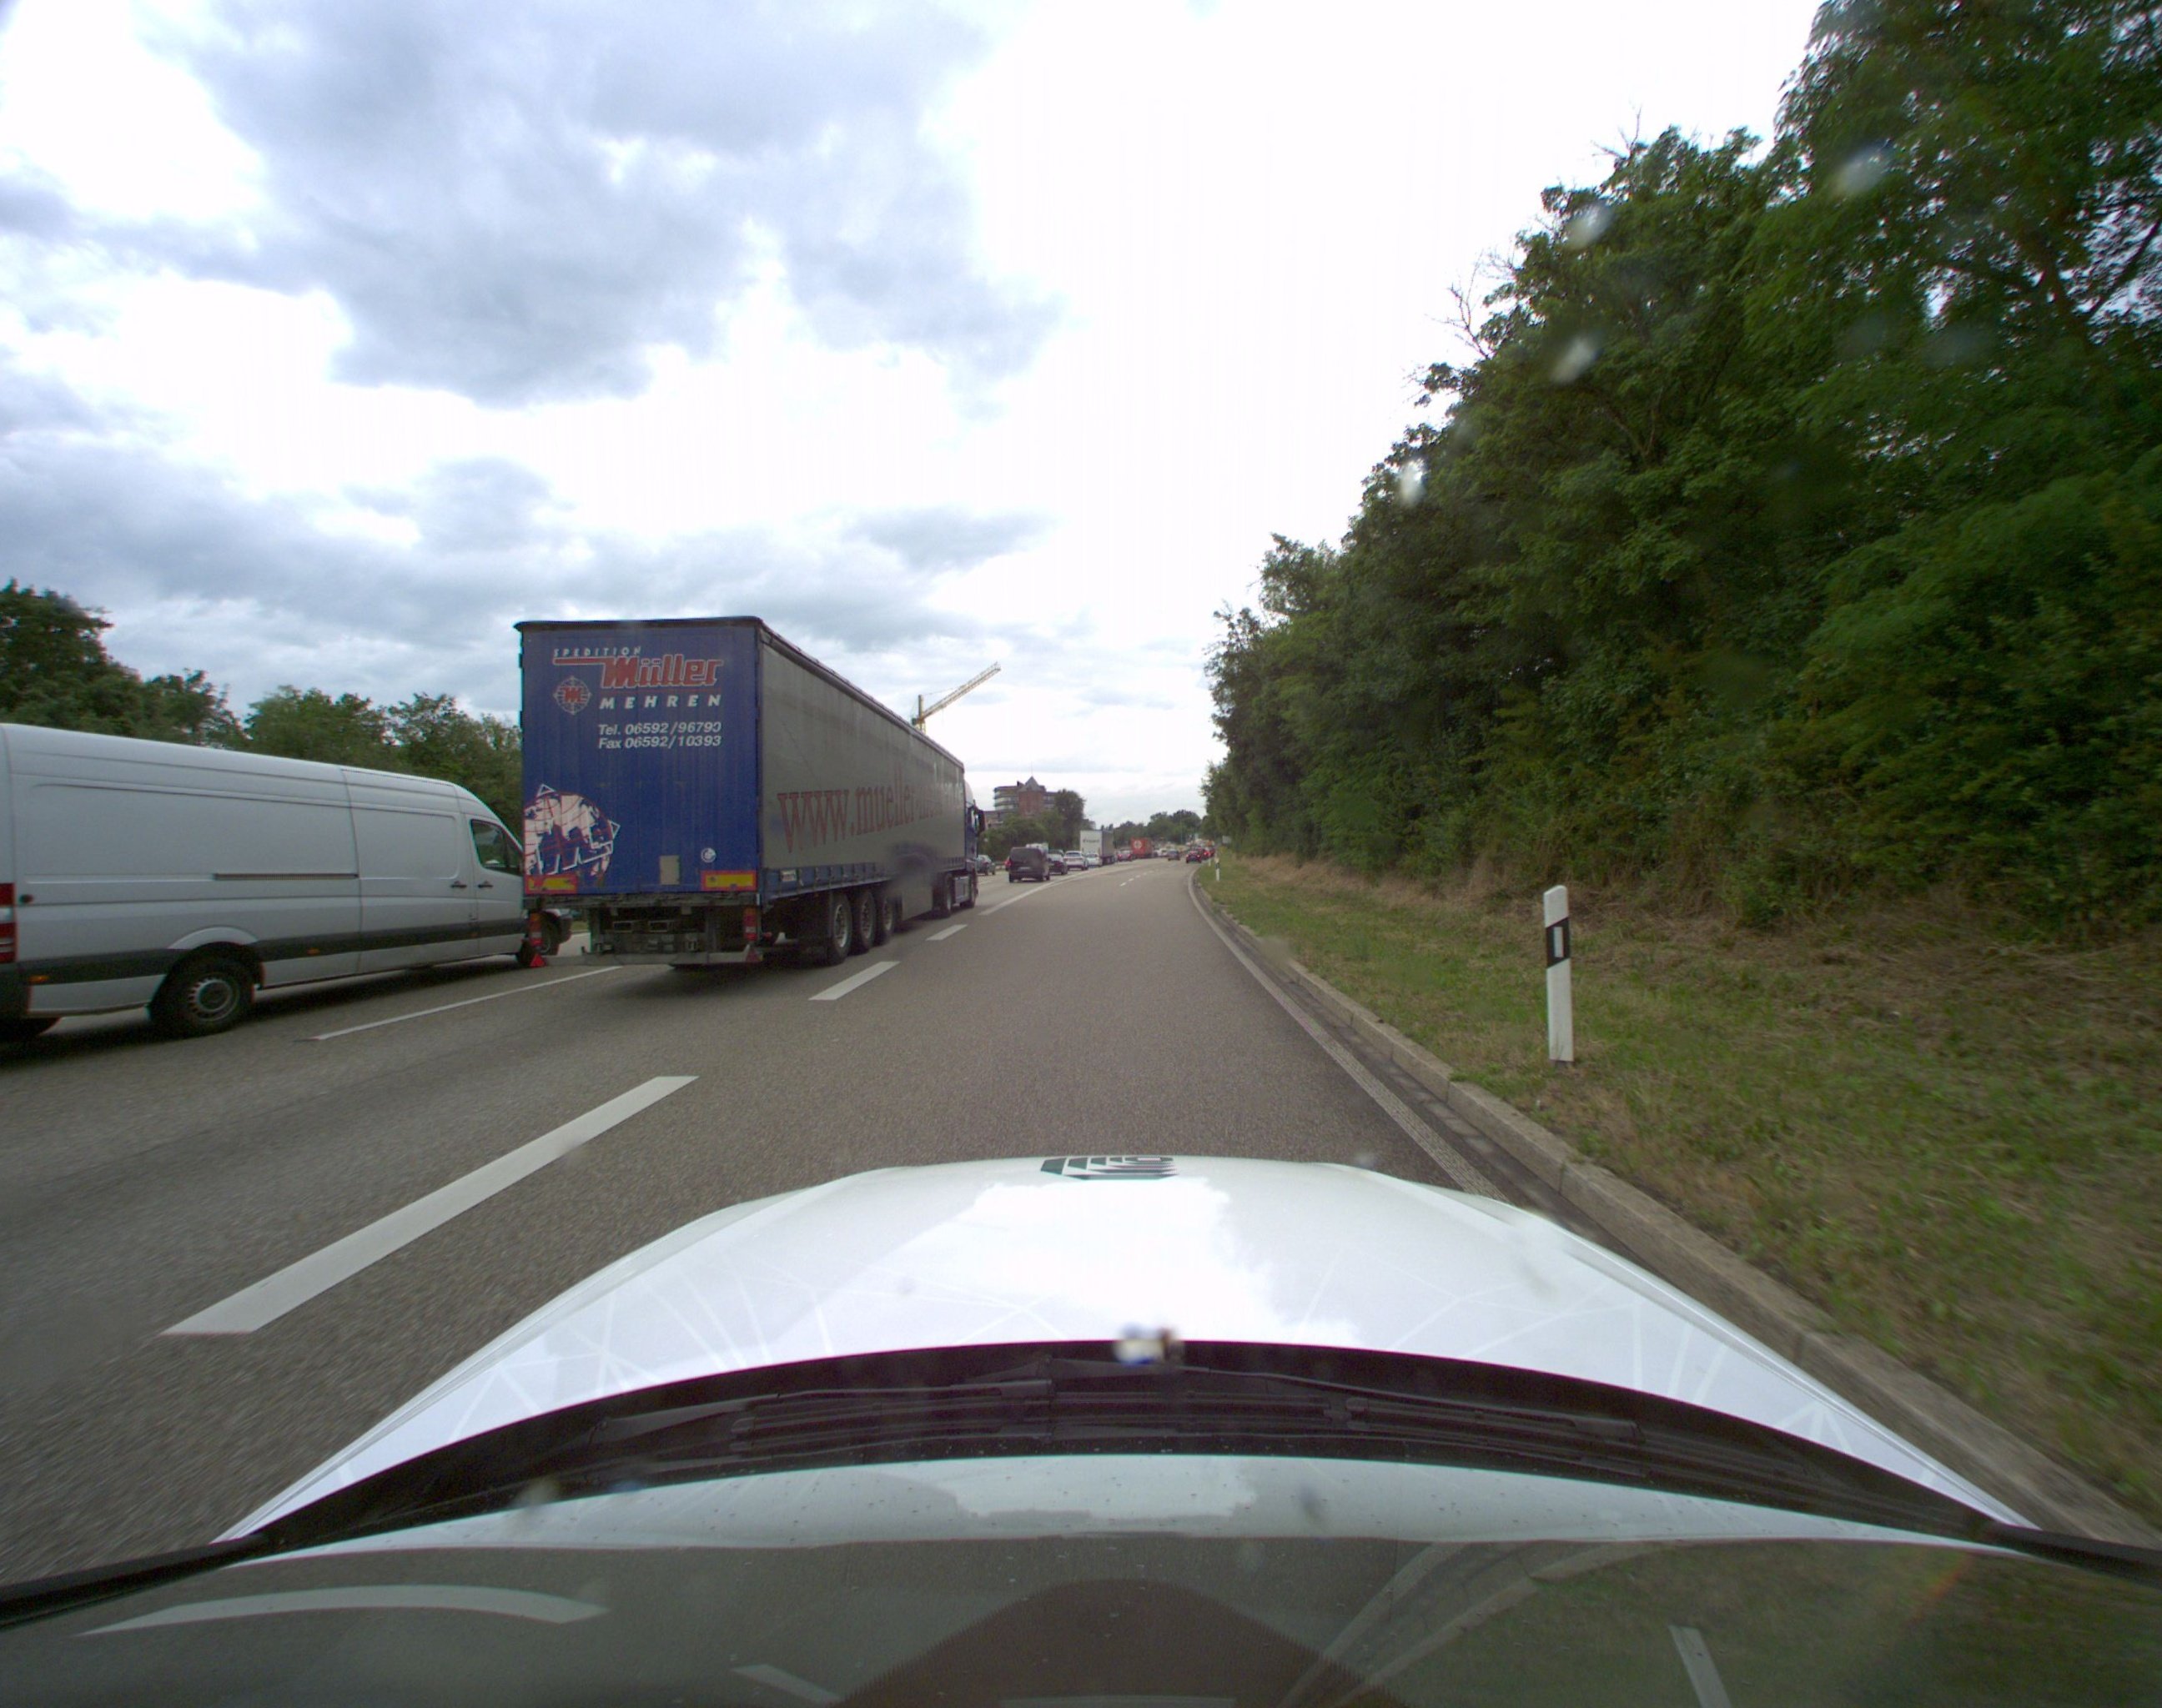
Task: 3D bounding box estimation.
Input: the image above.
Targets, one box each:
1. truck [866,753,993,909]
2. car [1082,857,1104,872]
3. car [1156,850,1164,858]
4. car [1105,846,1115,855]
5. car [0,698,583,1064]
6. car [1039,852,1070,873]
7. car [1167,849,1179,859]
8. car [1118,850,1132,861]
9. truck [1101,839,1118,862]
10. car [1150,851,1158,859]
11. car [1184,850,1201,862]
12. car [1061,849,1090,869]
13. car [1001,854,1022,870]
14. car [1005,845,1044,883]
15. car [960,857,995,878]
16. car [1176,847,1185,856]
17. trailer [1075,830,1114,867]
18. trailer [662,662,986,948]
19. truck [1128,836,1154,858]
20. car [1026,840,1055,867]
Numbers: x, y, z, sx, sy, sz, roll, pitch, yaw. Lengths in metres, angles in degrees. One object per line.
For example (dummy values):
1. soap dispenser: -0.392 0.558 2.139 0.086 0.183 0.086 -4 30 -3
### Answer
1. truck: -4.299 -0.576 24.453 2.553 4.042 6.588 0 0 0
2. car: 1.243 1.053 83.042 1.755 1.478 4.097 1 0 7
3. car: 18.732 0.078 193.848 1.605 1.948 3.714 0 0 9
4. car: 6.905 -0.900 193.622 1.981 2.013 4.011 -1 0 10
5. car: -8.683 0.215 8.892 2.214 2.578 6.798 0 0 1
6. car: -1.836 0.584 57.816 1.840 1.460 4.833 0 0 2
7. car: 14.234 -0.069 125.529 1.815 1.482 4.008 -2 0 7
8. car: 6.715 0.277 124.140 1.707 1.684 4.009 0 0 8
9. truck: 5.565 -0.617 157.754 2.725 4.138 10.714 0 0 6
10. car: 16.484 0.224 182.986 1.605 1.948 3.713 0 0 8
11. car: 13.867 0.245 101.265 1.813 1.482 4.014 -1 0 12
12. car: -0.457 0.454 71.477 1.946 1.695 4.874 0 0 6
13. car: -6.088 0.722 71.806 1.435 1.387 3.050 0 0 3
14. car: -3.068 0.509 45.212 1.983 1.898 4.980 -3 0 -3
15. car: -7.304 0.907 57.658 1.667 1.389 4.005 -1 0 4
16. car: 23.378 -0.498 191.001 1.940 2.013 4.008 -1 0 7
17. trailer: 1.679 -0.572 94.852 3.281 4.036 13.121 0 0 6
18. trailer: -4.399 -0.645 18.177 2.617 4.022 13.467 0 0 1
19. truck: 11.770 -1.357 159.043 3.468 4.073 13.632 -2 0 11
20. car: -4.142 -0.064 83.274 1.983 2.553 5.373 -1 0 7
